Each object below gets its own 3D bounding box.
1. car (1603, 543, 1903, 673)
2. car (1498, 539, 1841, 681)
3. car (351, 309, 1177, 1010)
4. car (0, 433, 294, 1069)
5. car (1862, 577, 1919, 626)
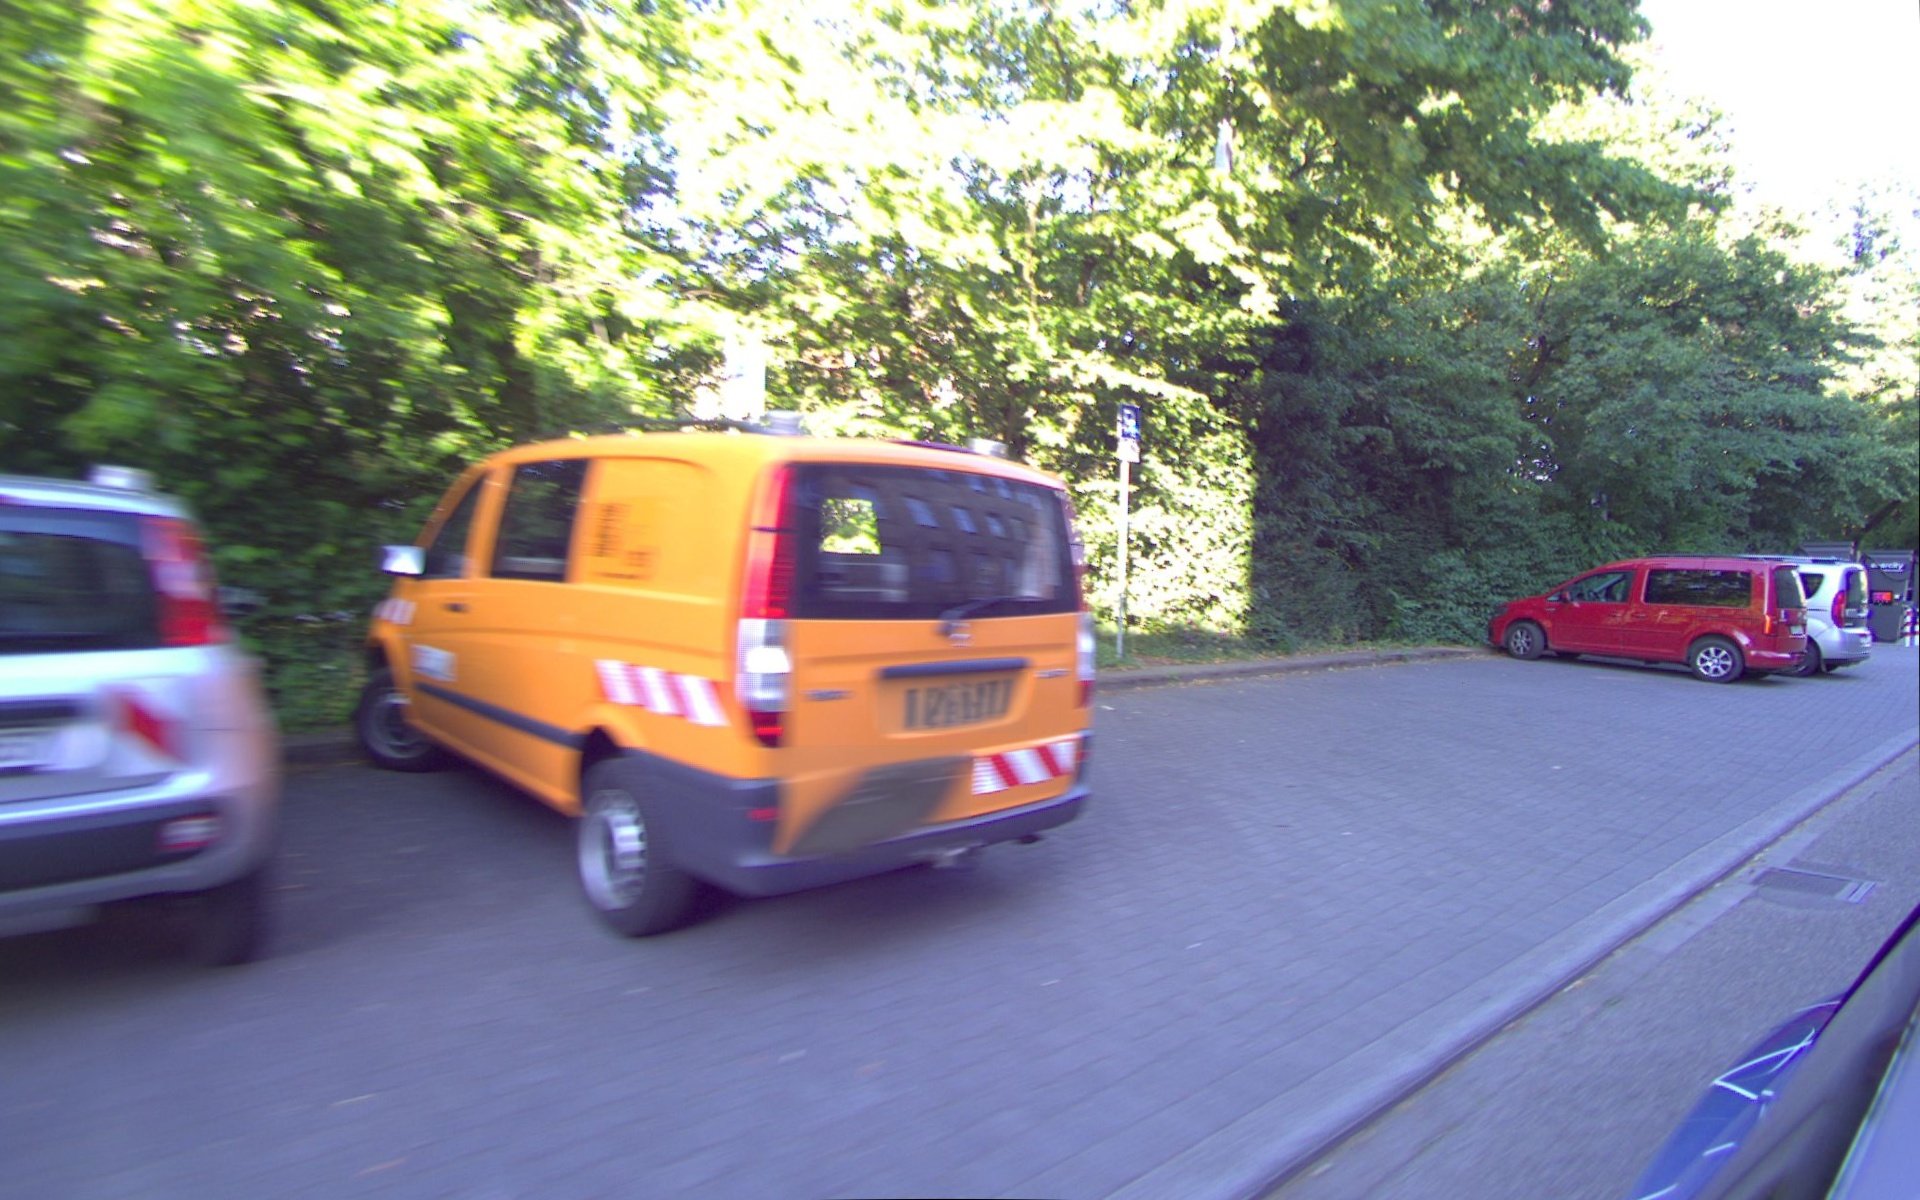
[{"bbox_3d":[13.378,0.036,17.262,1.750,1.906,3.614,0,4,-36],"label":"car"},{"bbox_3d":[11.068,0.039,16.056,1.883,1.885,3.987,0,4,-35],"label":"car"},{"bbox_3d":[-1.489,0.006,5.373,2.046,2.022,4.803,-1,4,-43],"label":"car"},{"bbox_3d":[-3.686,0.280,3.803,1.649,1.651,3.406,0,4,-39],"label":"car"},{"bbox_3d":[30.398,0.093,30.559,1.679,1.484,4.446,0,2,-36],"label":"car"}]
